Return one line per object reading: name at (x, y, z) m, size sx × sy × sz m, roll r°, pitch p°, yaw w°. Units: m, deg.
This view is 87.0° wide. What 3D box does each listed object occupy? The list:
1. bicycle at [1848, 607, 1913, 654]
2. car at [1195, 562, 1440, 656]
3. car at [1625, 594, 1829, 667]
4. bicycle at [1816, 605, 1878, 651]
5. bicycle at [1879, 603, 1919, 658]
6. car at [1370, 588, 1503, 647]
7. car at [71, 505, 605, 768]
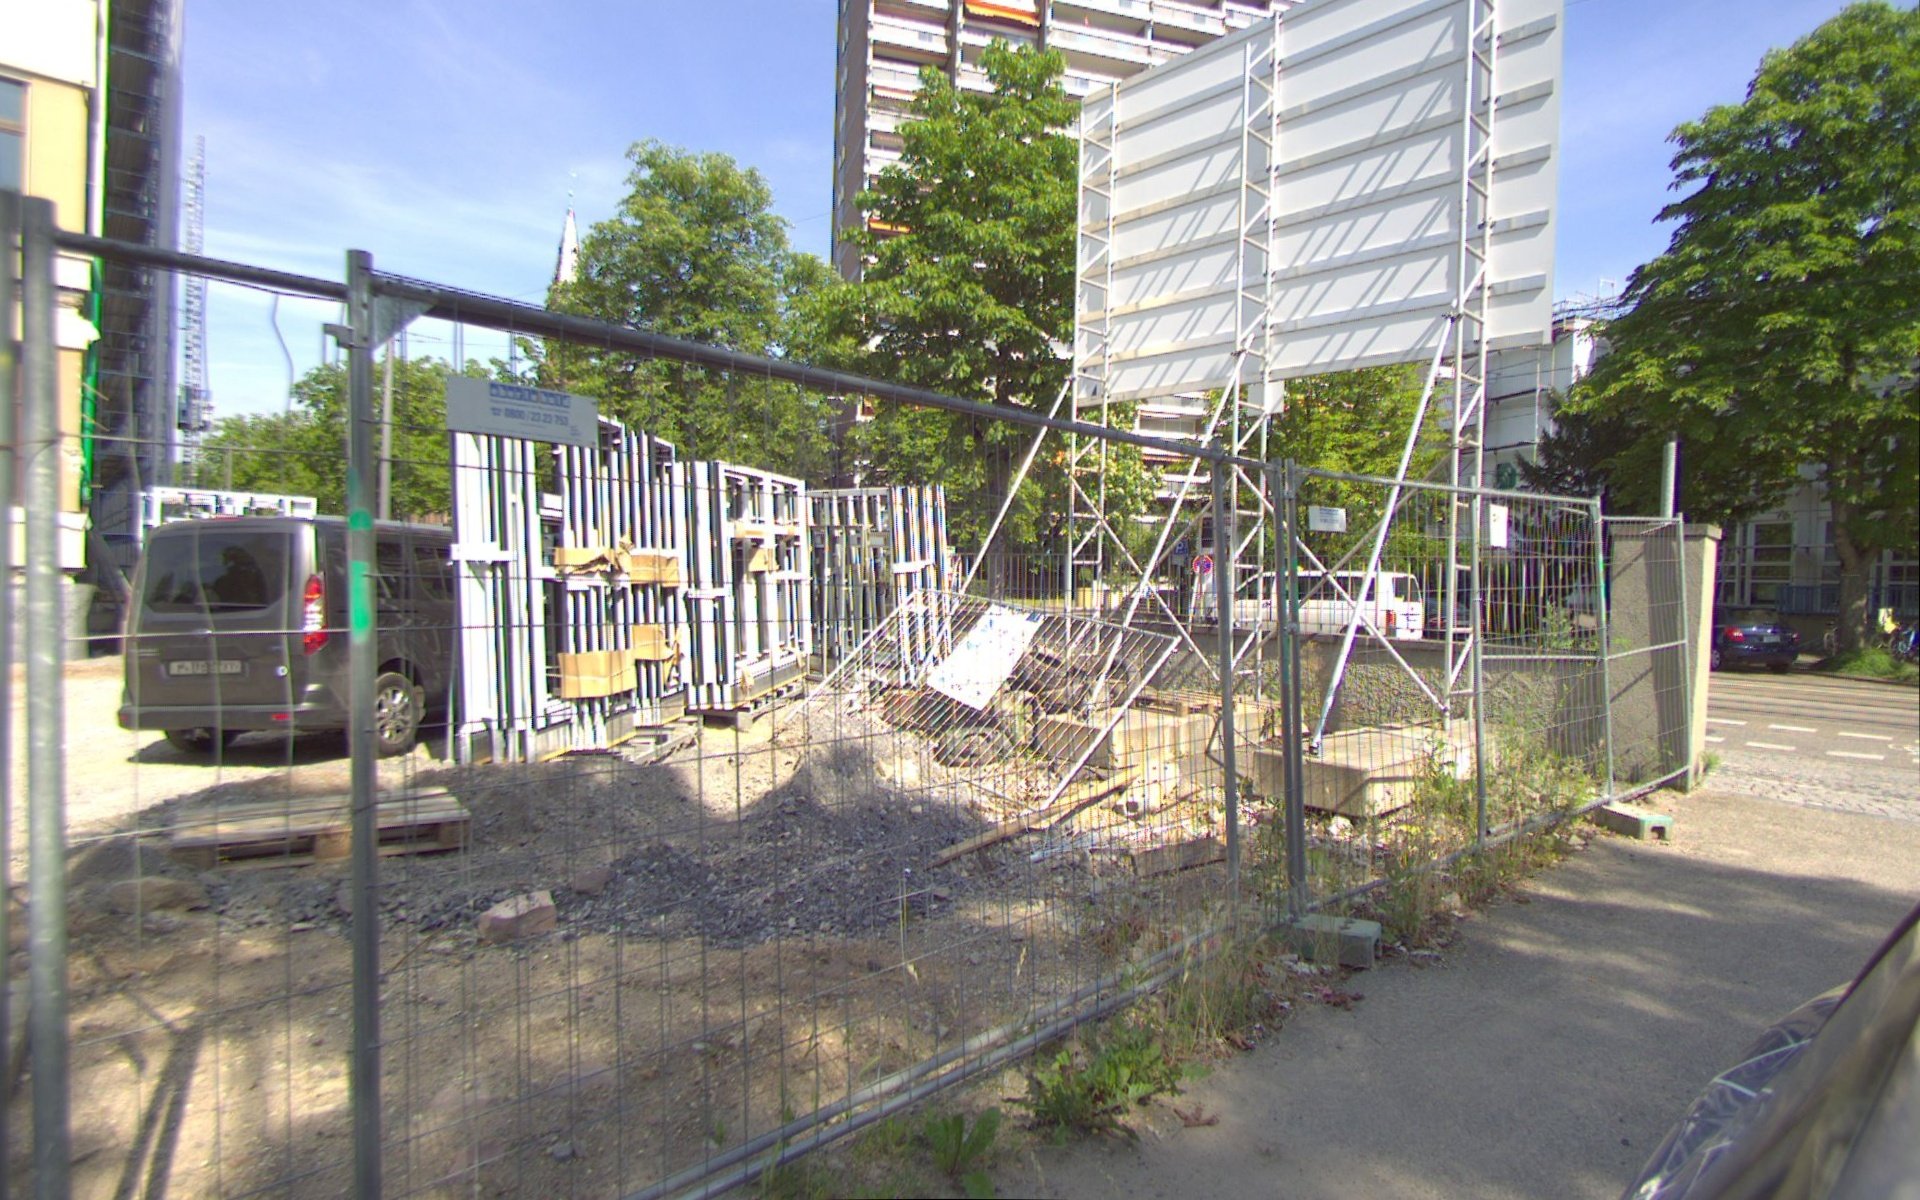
bicycle at (24.598, 0.823, 27.037) m, size 1.974 × 1.215 × 0.490 m, roll 1°, pitch 1°, yaw -24°
car at (8.456, 0.134, 24.365) m, size 1.962 × 1.970 × 5.240 m, roll 1°, pitch 1°, yaw -42°
car at (17.650, 0.636, 23.549) m, size 1.622 × 1.470 × 4.001 m, roll 1°, pitch 1°, yaw 0°
bicycle at (24.470, 0.776, 27.905) m, size 1.975 × 1.215 × 0.490 m, roll 1°, pitch 1°, yaw -25°
bicycle at (24.820, 0.795, 26.368) m, size 1.974 × 1.395 × 0.490 m, roll 1°, pitch 1°, yaw -24°
car at (13.244, 0.436, 28.427) m, size 1.808 × 1.427 × 4.148 m, roll 0°, pitch 2°, yaw 1°
car at (-5.125, 0.202, 9.203) m, size 1.889 × 1.802 × 4.305 m, roll 0°, pitch 1°, yaw 7°
